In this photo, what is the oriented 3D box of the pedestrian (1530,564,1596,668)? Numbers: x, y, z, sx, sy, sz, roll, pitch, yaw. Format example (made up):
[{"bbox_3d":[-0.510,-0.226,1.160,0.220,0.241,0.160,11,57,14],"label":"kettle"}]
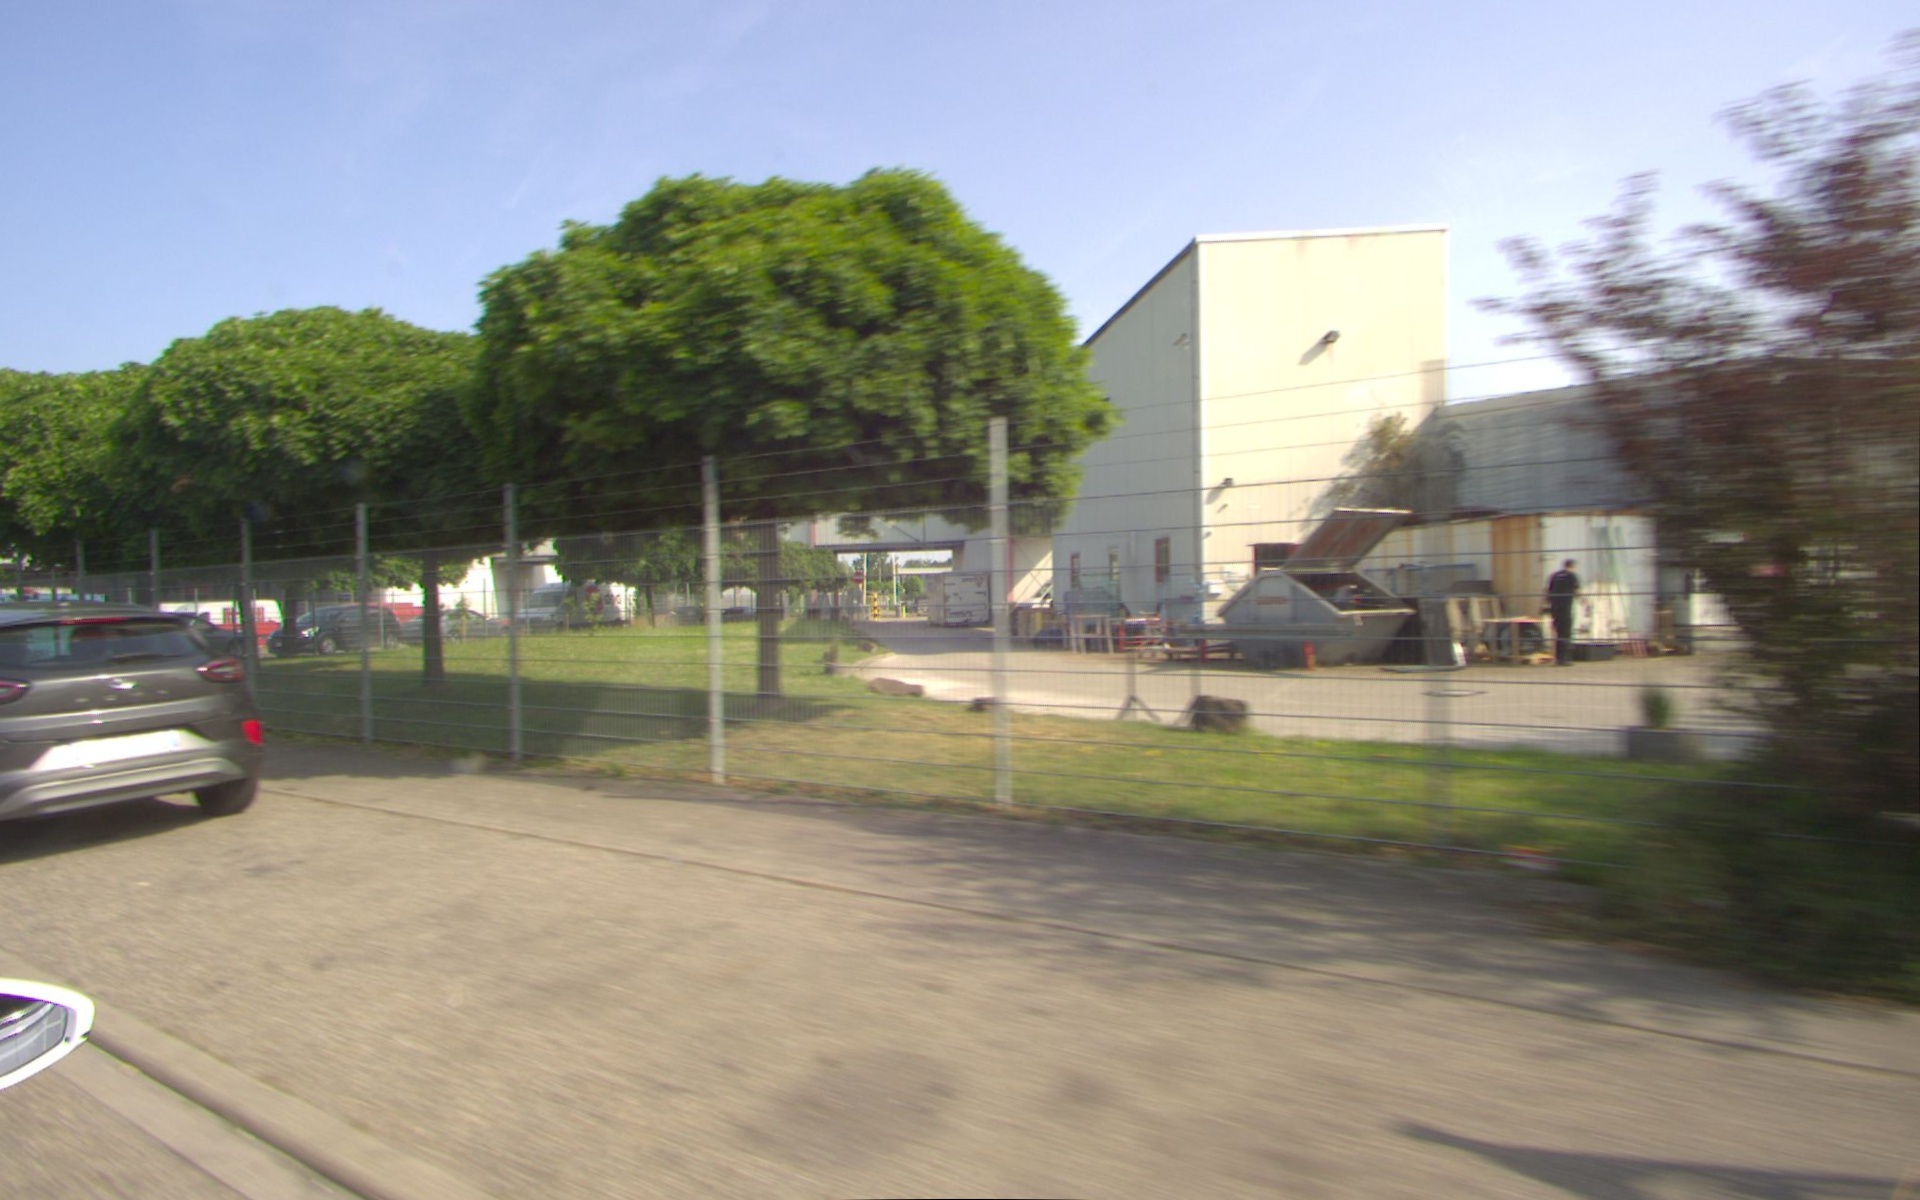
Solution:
[{"bbox_3d":[10.378,0.276,17.259,0.620,1.745,0.858,-1,1,1],"label":"pedestrian"}]

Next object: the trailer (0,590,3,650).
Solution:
[{"bbox_3d":[-40.160,0.048,35.746,2.724,3.944,8.559,-3,-1,11],"label":"trailer"}]

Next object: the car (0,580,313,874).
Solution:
[{"bbox_3d":[-6.642,0.728,7.101,4.055,1.595,1.876,-1,1,32],"label":"car"}]

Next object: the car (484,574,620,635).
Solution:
[{"bbox_3d":[-18.195,0.195,45.138,2.166,2.516,6.843,1,0,13],"label":"car"}]

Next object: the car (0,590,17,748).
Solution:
[{"bbox_3d":[-12.326,0.781,10.828,5.046,1.595,1.876,-1,1,33],"label":"car"}]

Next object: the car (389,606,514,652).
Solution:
[{"bbox_3d":[-19.091,1.057,37.876,1.696,1.537,4.488,-3,-1,13],"label":"car"}]

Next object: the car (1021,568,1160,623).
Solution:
[{"bbox_3d":[6.556,-0.232,50.618,6.573,2.551,2.173,-1,0,-9],"label":"car"}]

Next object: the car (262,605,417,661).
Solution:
[{"bbox_3d":[-19.797,1.003,32.186,1.842,1.647,4.266,1,0,10],"label":"car"}]
